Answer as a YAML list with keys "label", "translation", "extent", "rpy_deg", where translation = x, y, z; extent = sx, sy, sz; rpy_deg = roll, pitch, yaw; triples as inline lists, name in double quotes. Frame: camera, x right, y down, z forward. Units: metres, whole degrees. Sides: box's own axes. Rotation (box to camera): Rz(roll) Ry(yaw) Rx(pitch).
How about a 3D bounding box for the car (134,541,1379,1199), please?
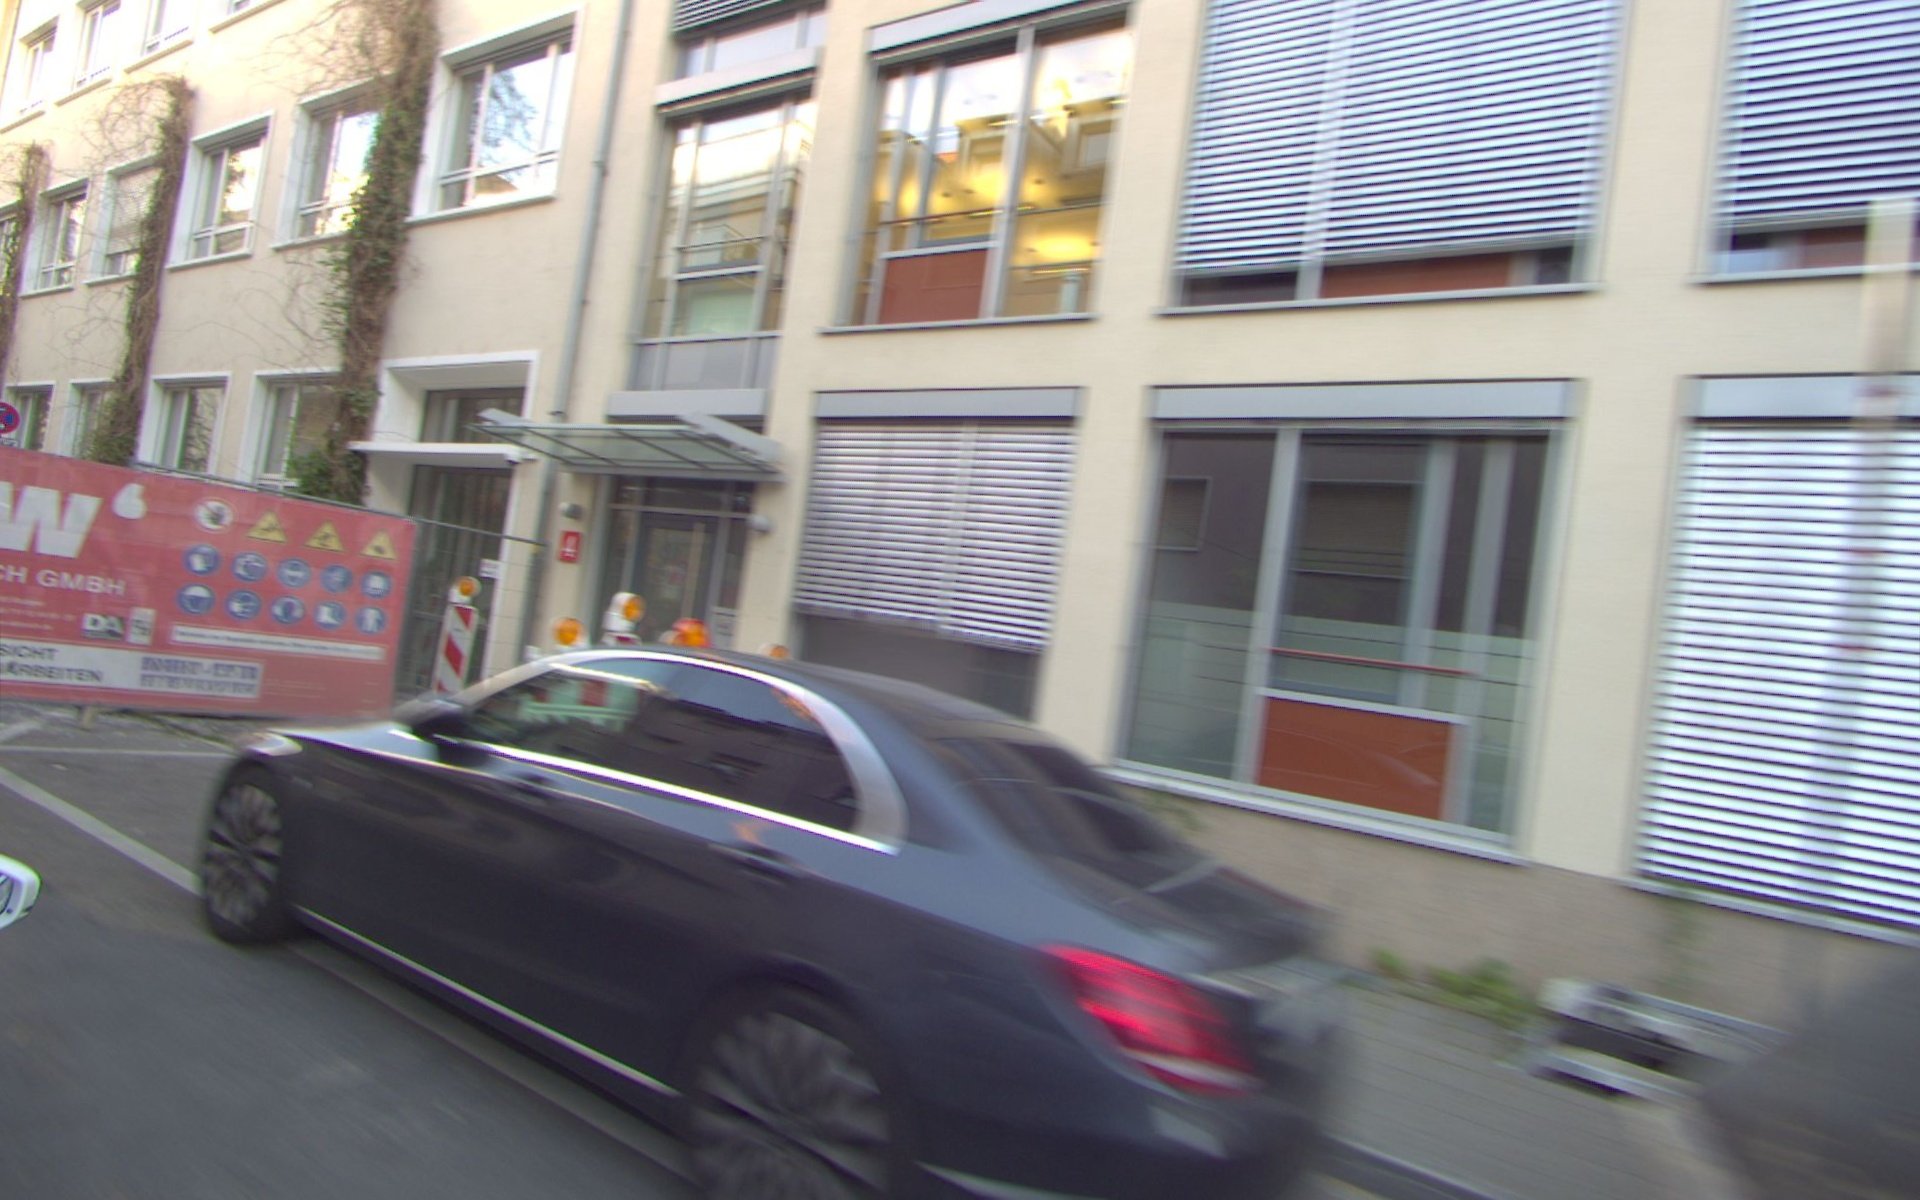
- label: "car"
  translation: [-0.982, 0.839, 3.771]
  extent: [4.372, 1.486, 1.793]
  rpy_deg: [7, -5, 32]
